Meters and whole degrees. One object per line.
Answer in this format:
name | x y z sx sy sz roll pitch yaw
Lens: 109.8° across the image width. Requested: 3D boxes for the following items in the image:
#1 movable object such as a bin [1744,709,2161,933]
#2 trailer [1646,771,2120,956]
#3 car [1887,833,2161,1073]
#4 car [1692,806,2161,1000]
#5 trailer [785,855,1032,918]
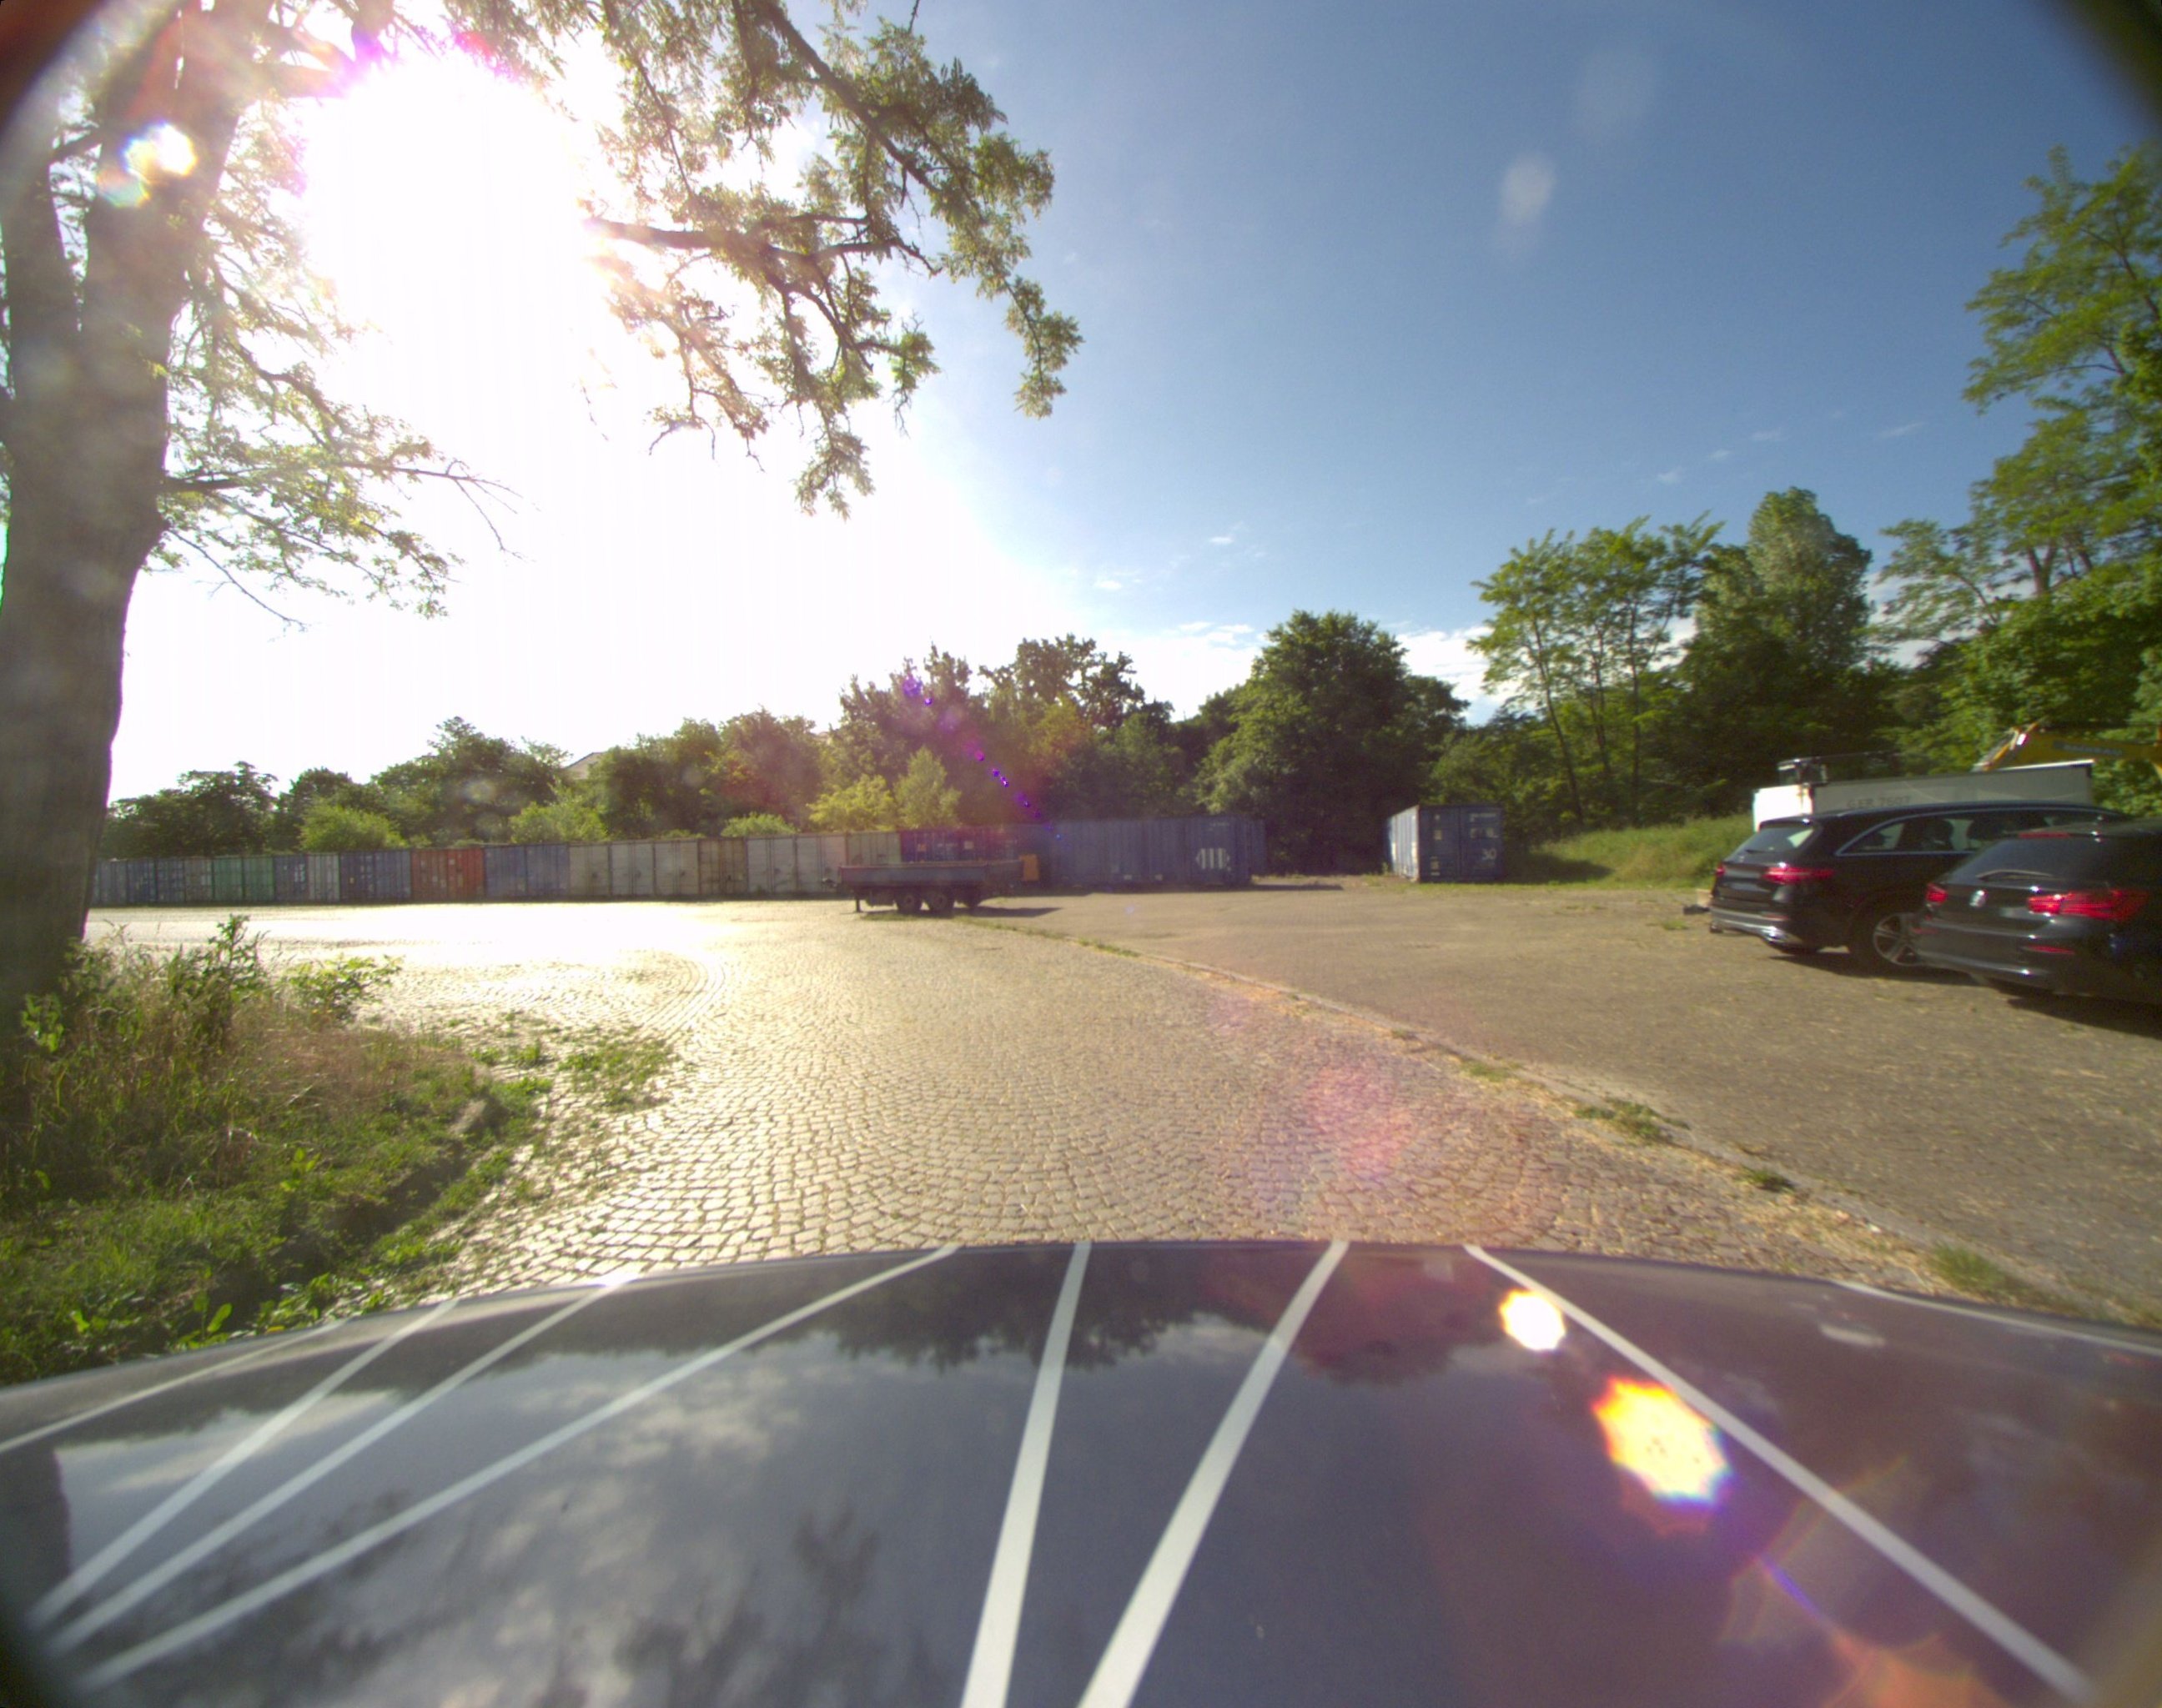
movable object such as a bin | 13.606 -0.419 11.367 5.152 2.949 2.003 -1 1 22
trailer | 10.201 0.179 10.076 3.965 2.081 1.641 -3 0 18
car | 8.328 0.559 5.035 3.656 1.442 1.836 -2 0 18
car | 8.765 0.427 7.511 3.812 1.631 1.870 -2 0 20
trailer | -5.022 0.939 22.417 6.480 1.509 2.858 -2 1 17
